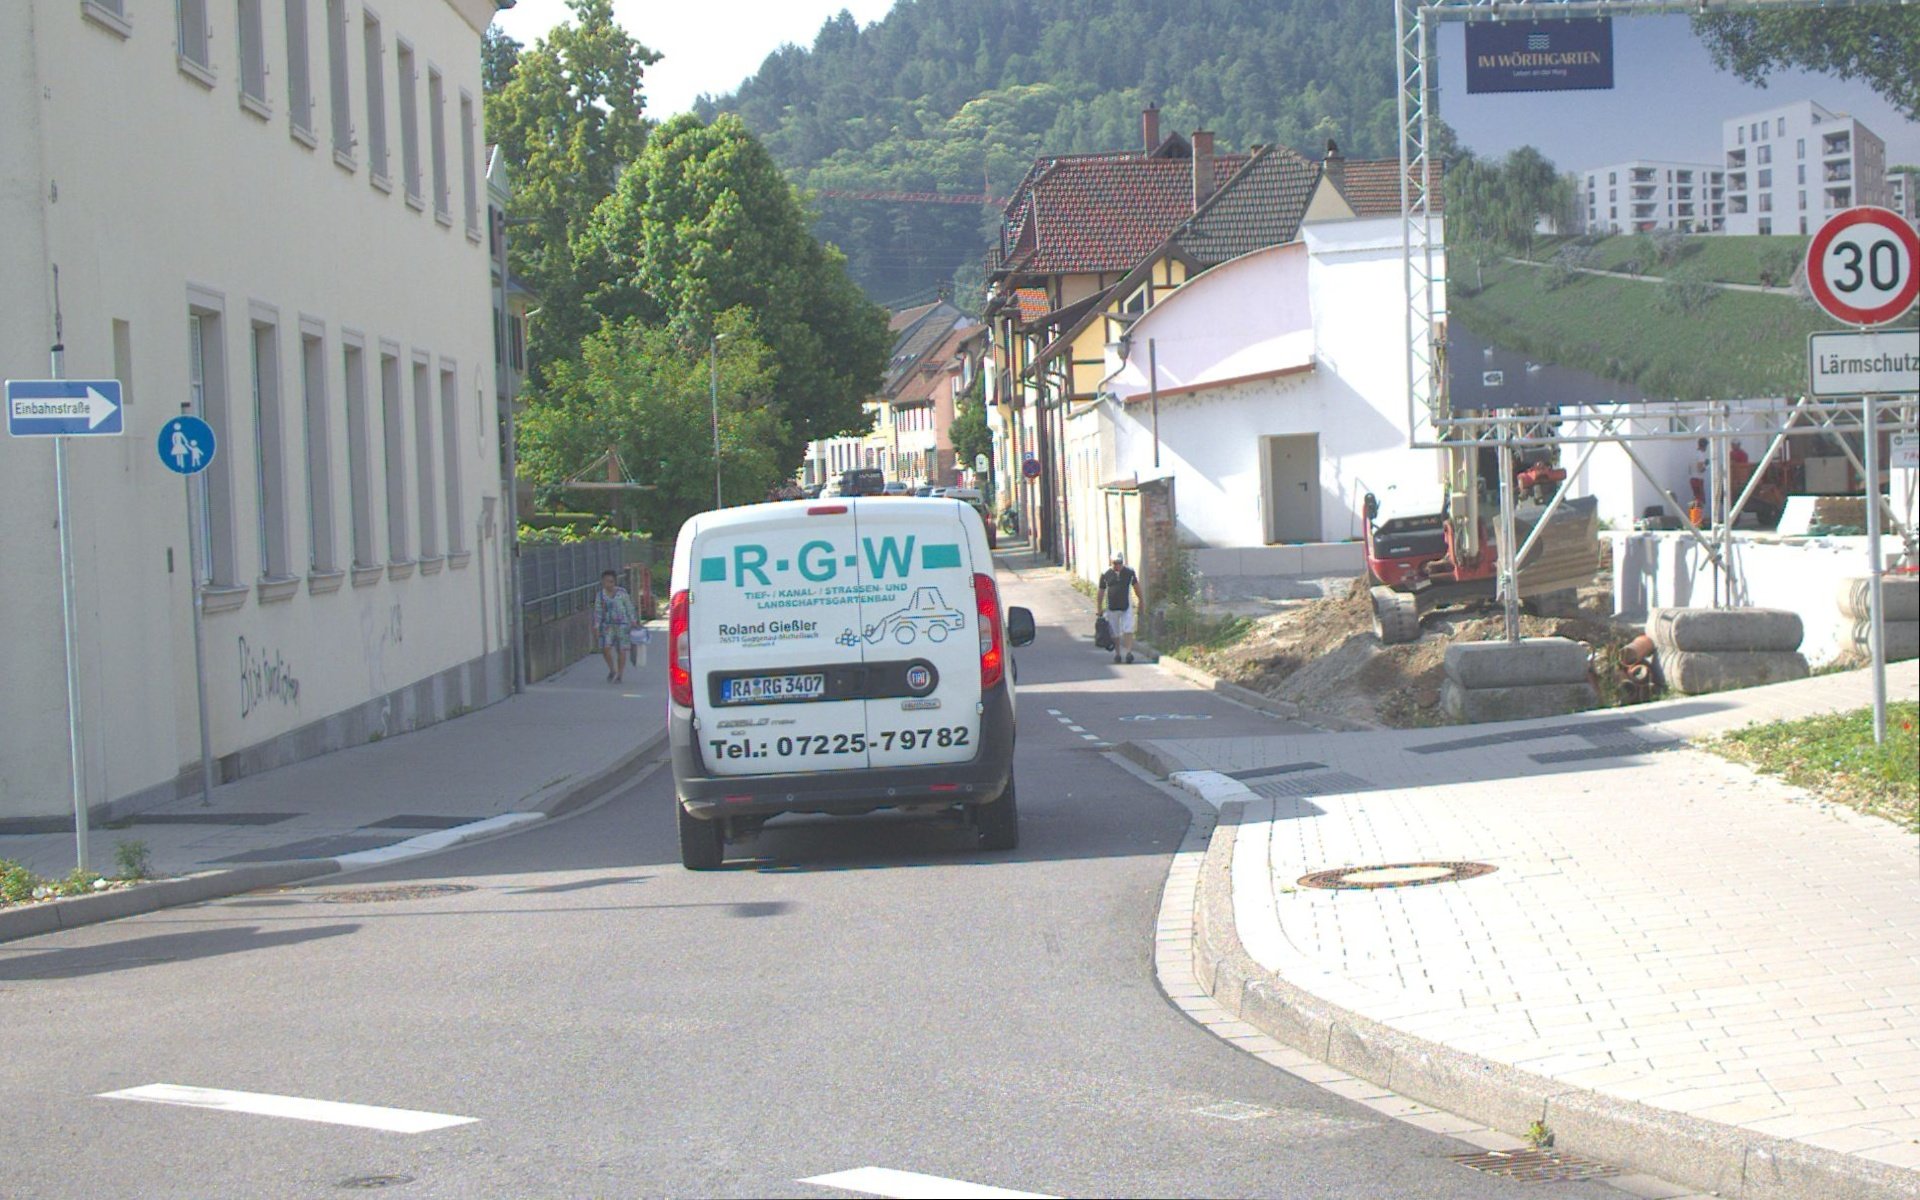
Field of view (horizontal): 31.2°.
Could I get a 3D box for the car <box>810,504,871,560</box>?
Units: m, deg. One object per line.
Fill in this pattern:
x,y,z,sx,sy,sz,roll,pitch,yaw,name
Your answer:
-3.644,-2.091,104.474,1.810,1.591,3.928,0,3,-2,car

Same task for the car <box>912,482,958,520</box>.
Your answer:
-1.083,-4.238,146.604,1.669,1.502,4.001,-3,2,-3,car

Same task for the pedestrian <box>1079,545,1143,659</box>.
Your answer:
2.240,0.021,51.201,0.888,1.677,0.718,-1,1,-1,pedestrian

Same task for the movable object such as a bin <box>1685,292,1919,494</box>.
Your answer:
16.096,-3.863,64.700,2.855,3.609,5.725,2,3,34,movable object such as a bin

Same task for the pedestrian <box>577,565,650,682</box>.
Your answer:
-4.960,0.333,49.271,0.958,1.625,0.758,1,1,-1,pedestrian

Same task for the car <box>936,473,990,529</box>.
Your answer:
0.112,-3.764,130.209,1.871,2.006,4.001,-2,2,-2,car

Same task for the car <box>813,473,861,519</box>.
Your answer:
-8.145,-6.881,226.912,2.874,2.825,6.125,-3,2,-3,car

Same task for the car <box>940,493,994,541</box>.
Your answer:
0.229,-2.916,120.209,1.810,1.591,3.927,0,3,-1,car

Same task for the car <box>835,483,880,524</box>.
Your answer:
-4.263,-4.014,142.563,1.810,1.591,3.927,0,3,-2,car

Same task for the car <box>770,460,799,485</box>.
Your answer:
-11.405,-8.264,223.332,1.810,1.591,3.928,0,3,-4,car

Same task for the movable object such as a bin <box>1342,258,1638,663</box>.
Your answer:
5.463,-1.438,36.554,2.295,3.840,7.798,0,2,3,movable object such as a bin

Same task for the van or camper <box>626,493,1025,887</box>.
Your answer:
-0.625,0.433,19.047,1.828,1.838,4.188,-3,0,2,van or camper
